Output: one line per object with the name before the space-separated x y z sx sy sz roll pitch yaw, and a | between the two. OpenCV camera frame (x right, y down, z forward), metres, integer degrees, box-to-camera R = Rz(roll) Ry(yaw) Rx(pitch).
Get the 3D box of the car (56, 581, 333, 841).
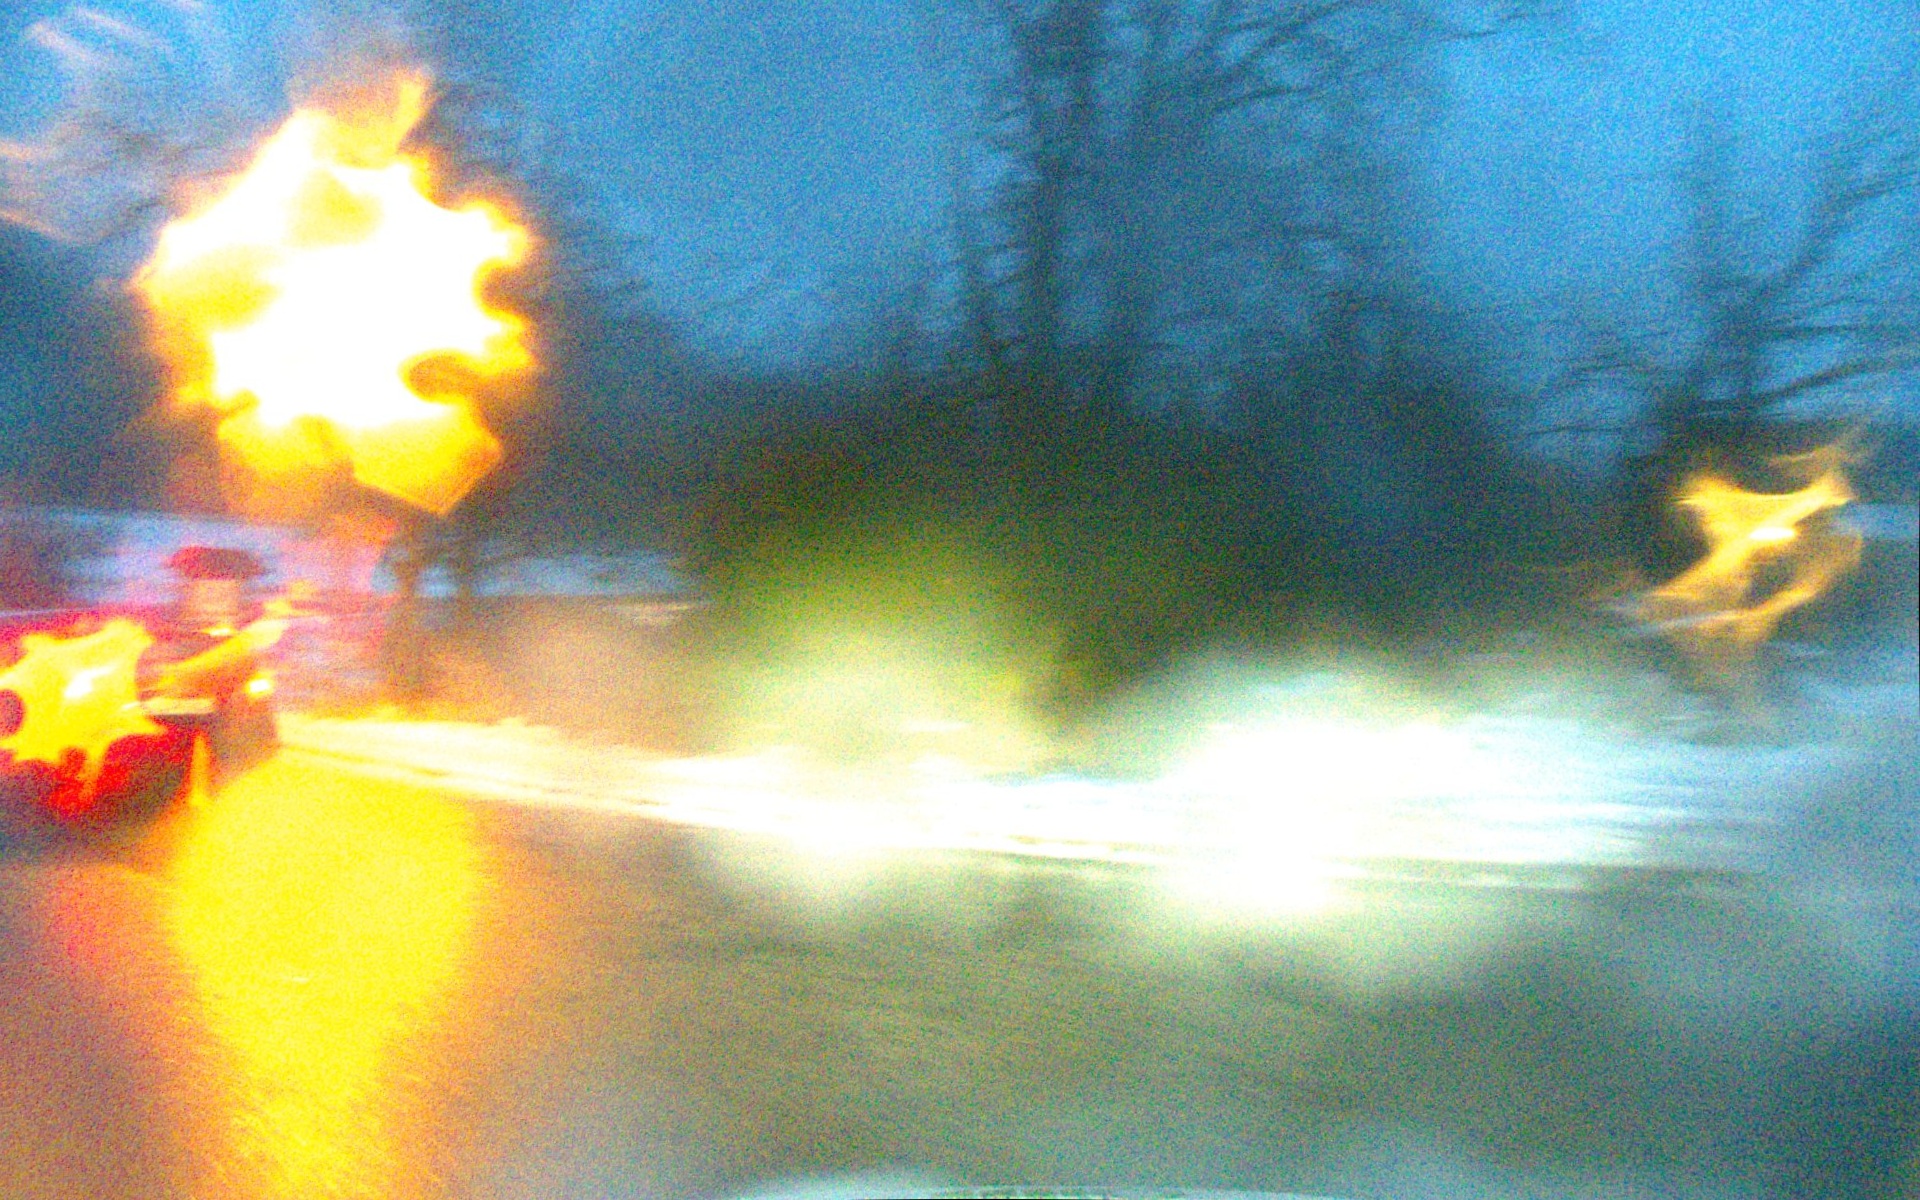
car | -6.431 0.775 13.697 1.802 1.828 3.543 1 0 -29
